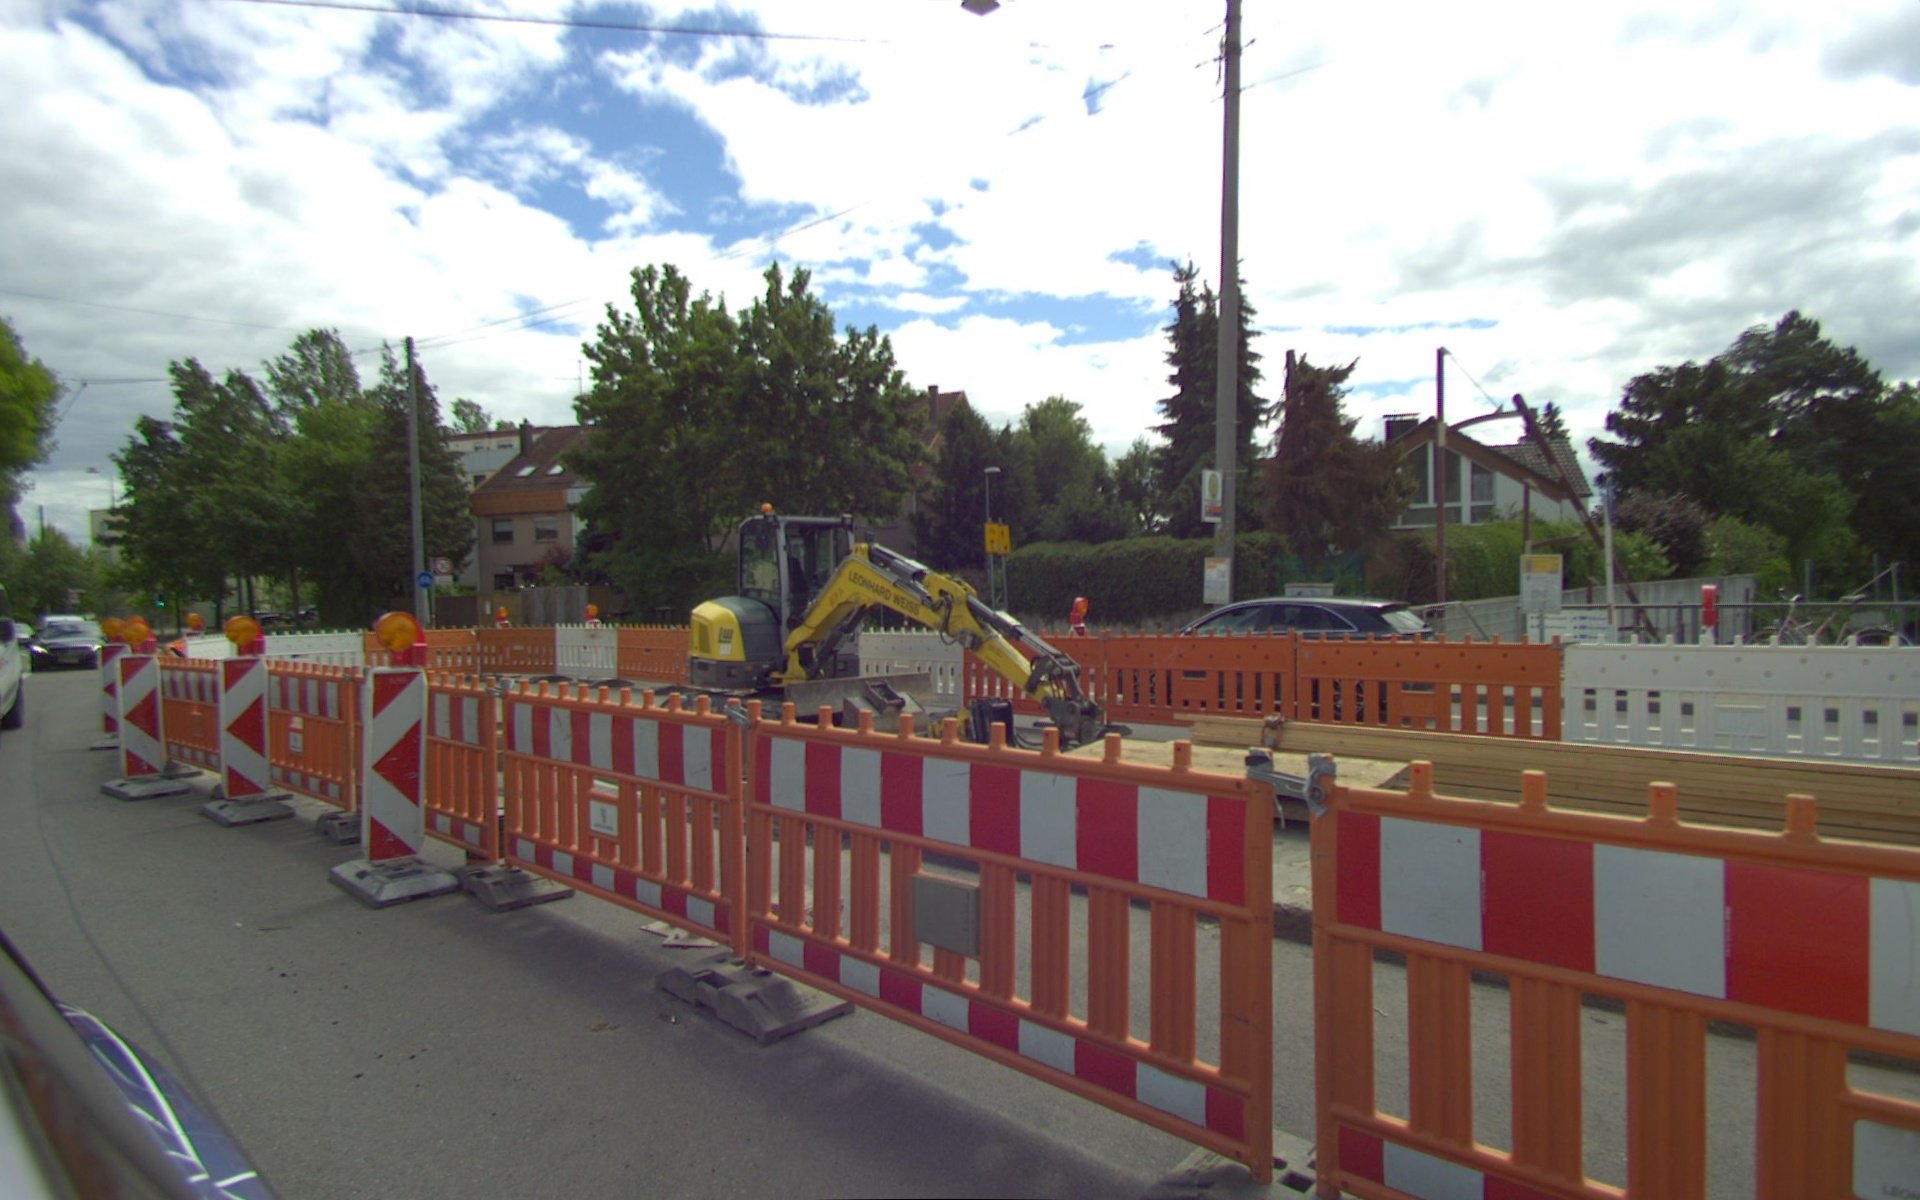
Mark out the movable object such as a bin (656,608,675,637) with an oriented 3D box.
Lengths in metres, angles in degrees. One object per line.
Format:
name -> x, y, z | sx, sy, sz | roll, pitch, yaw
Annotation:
movable object such as a bin -> -10.090, 0.777, 34.650 | 0.524, 0.985, 0.374 | -1, 0, 32

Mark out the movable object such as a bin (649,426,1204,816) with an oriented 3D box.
movable object such as a bin -> -0.869, 0.164, 10.051 | 1.968, 2.645, 6.535 | -1, 0, -38

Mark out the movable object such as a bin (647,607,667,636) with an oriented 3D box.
movable object such as a bin -> -10.268, 0.732, 34.261 | 0.524, 0.985, 0.374 | -1, 0, 32

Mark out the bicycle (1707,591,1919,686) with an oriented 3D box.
bicycle -> 10.534, 0.454, 12.431 | 2.132, 1.091, 0.532 | -1, 0, 44

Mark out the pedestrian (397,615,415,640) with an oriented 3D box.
pedestrian -> -25.292, 1.244, 46.181 | 0.548, 1.094, 0.642 | -3, 1, -43

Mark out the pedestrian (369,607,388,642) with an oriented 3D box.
pedestrian -> -25.971, 1.093, 45.194 | 0.548, 1.492, 0.642 | -3, 1, -43

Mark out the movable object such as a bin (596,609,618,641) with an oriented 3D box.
movable object such as a bin -> -11.674, 0.828, 33.467 | 0.495, 1.018, 0.470 | -1, 0, 44

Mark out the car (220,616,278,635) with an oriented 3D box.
car -> -65.137, 2.357, 92.801 | 1.984, 1.519, 3.975 | -2, 1, 19

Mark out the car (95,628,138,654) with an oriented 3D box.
car -> -54.165, 2.584, 64.951 | 4.001, 1.524, 1.675 | -1, 0, 44

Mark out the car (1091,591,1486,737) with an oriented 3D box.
car -> 4.033, 0.704, 12.943 | 4.442, 1.524, 1.834 | -1, 0, 44

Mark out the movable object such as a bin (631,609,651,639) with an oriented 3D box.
movable object such as a bin -> -10.584, 0.789, 33.566 | 0.546, 0.985, 0.368 | -1, 0, 32

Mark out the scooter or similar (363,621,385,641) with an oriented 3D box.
scooter or similar -> -26.515, 1.409, 45.778 | 0.628, 0.871, 1.031 | -3, 1, -42

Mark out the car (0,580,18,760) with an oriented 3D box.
car -> -12.678, 0.814, 11.984 | 1.969, 2.028, 5.521 | -3, 2, -41

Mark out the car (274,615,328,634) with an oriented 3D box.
car -> -63.550, 2.349, 97.641 | 1.986, 1.519, 3.972 | -2, 1, 21
